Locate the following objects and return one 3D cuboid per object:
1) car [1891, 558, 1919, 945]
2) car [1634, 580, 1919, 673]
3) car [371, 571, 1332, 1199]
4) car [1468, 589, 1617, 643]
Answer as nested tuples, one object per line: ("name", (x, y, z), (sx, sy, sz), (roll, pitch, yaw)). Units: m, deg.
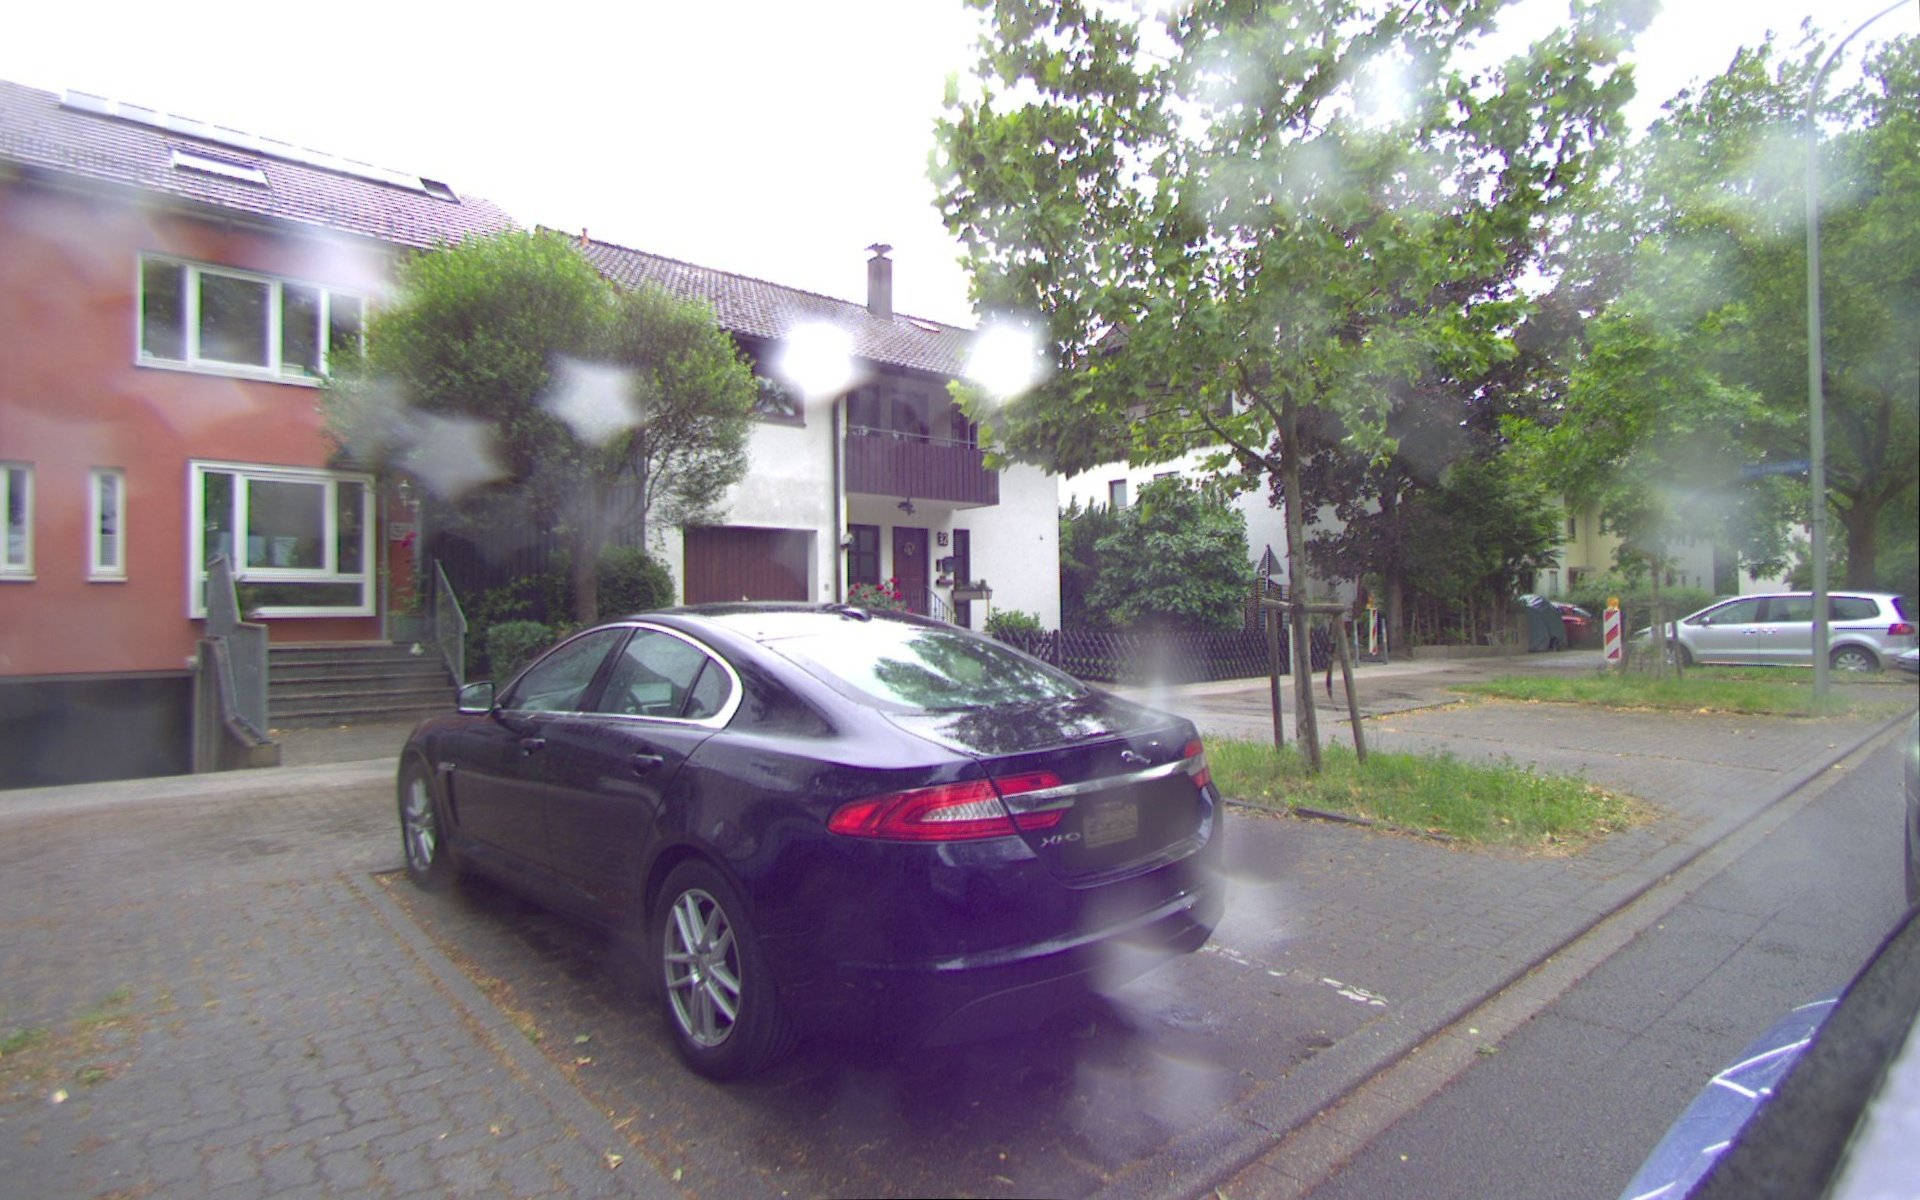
("car", (6.250, 0.643, 5.053), (4.346, 1.638, 1.861), (0, 0, -41))
("car", (16.674, 0.483, 20.506), (1.942, 1.682, 4.694), (0, 0, -42))
("car", (-0.987, 0.677, 4.695), (1.906, 1.491, 4.768), (0, 0, -44))
("car", (19.002, 0.497, 33.123), (1.809, 1.633, 3.853), (0, 0, -39))
